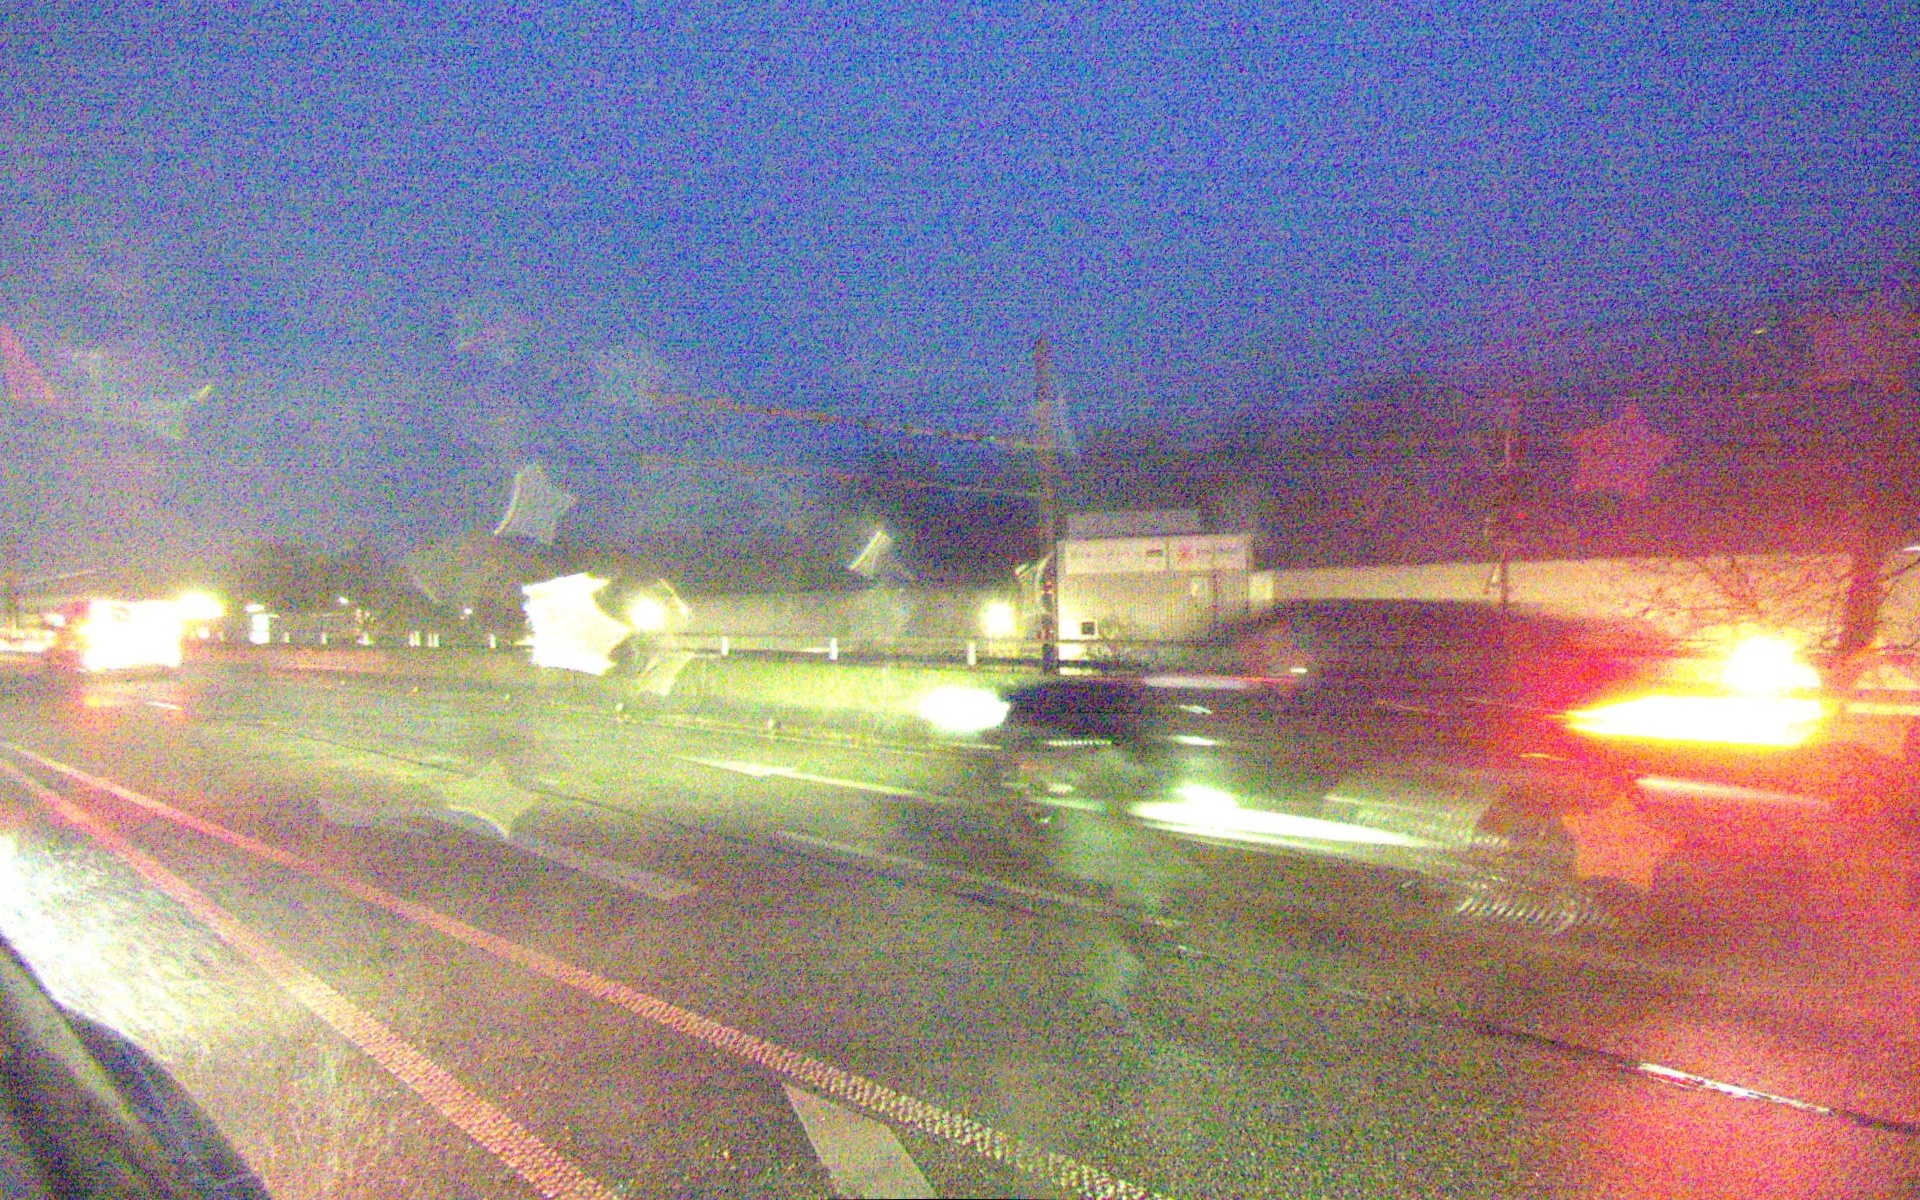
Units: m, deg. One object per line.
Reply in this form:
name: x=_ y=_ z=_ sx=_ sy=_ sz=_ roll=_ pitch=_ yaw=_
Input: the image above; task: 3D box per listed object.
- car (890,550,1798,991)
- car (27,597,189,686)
car: x=1.857 y=0.701 z=5.824 sx=4.483 sy=1.580 sz=1.868 roll=-3 pitch=-2 yaw=41
car: x=-21.505 y=1.028 z=25.484 sx=4.704 sy=2.029 sz=2.066 roll=-2 pitch=-2 yaw=36
